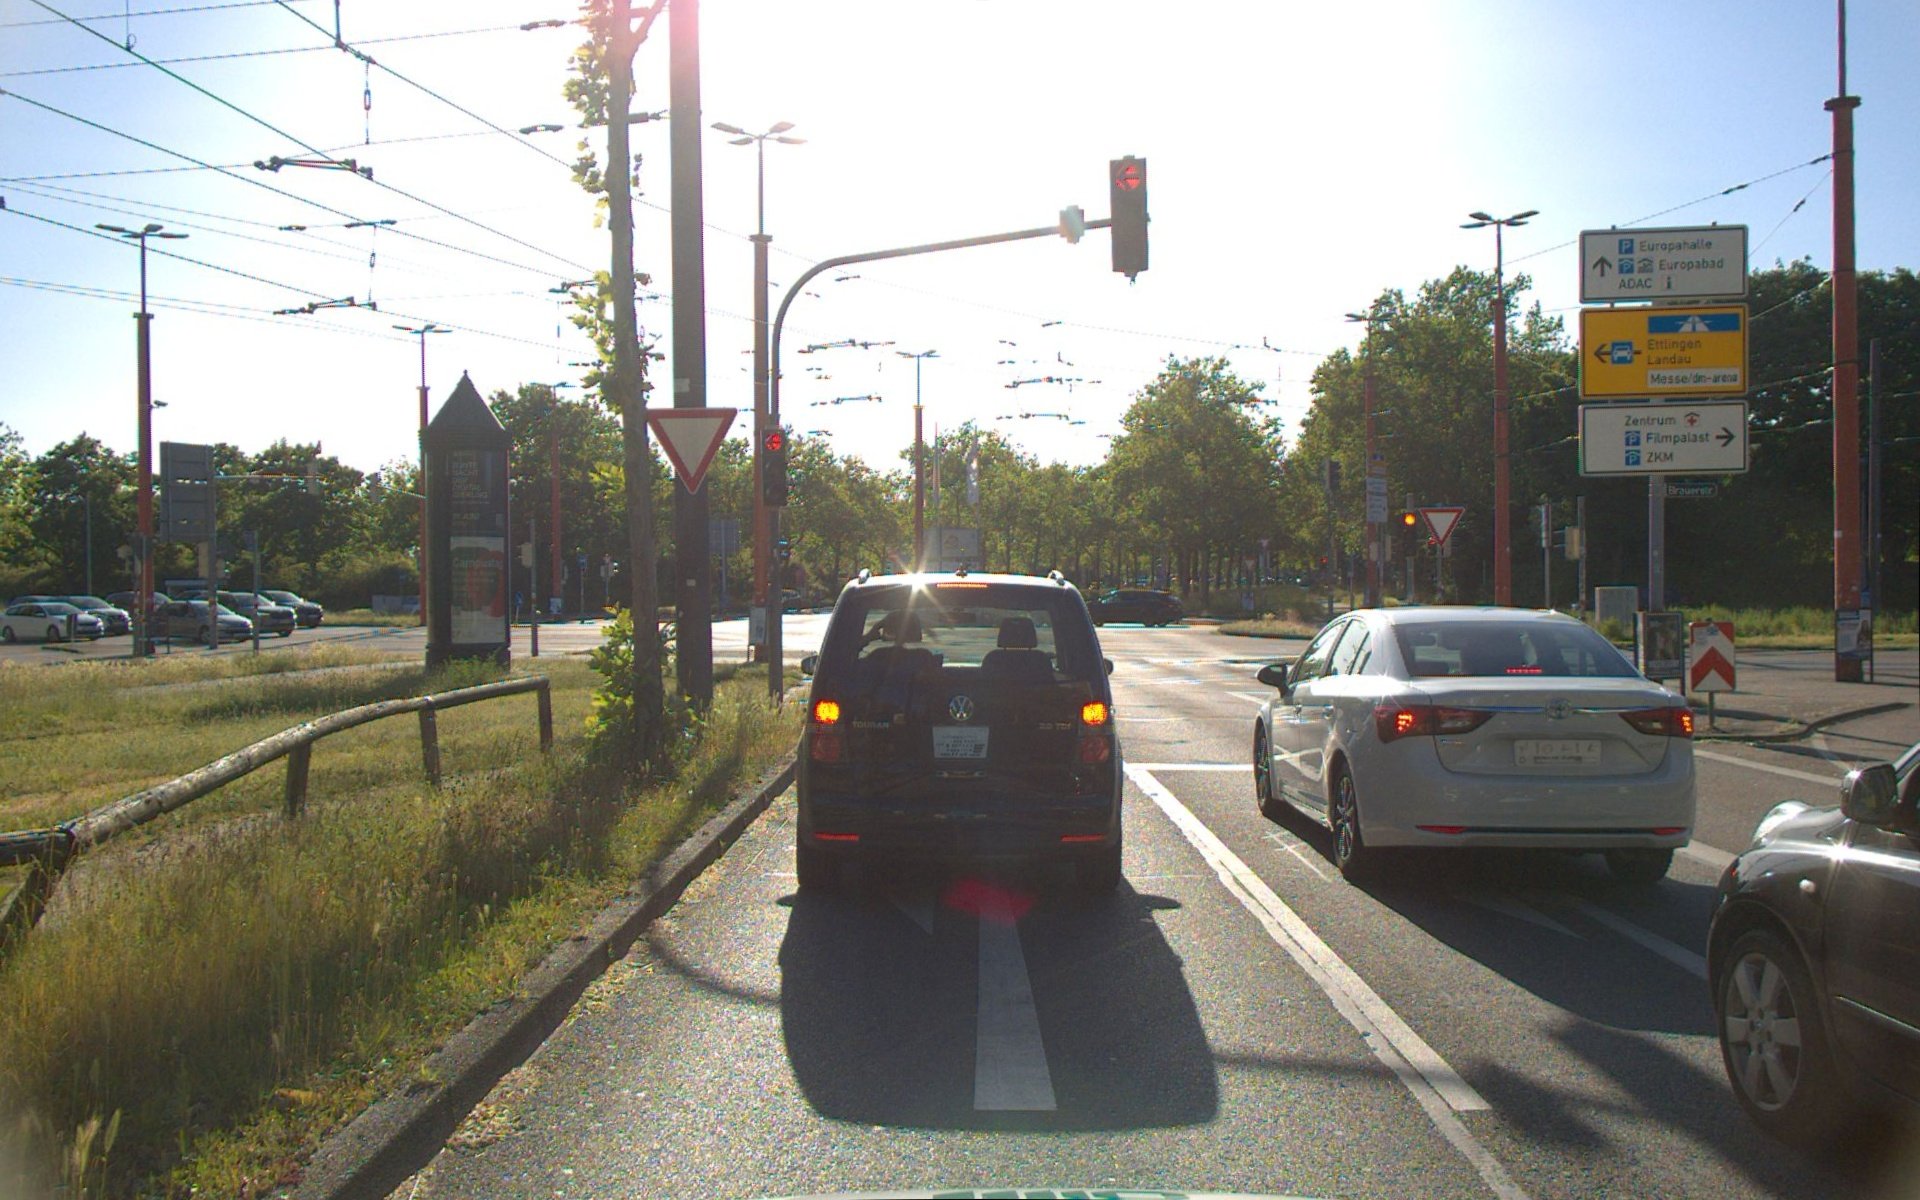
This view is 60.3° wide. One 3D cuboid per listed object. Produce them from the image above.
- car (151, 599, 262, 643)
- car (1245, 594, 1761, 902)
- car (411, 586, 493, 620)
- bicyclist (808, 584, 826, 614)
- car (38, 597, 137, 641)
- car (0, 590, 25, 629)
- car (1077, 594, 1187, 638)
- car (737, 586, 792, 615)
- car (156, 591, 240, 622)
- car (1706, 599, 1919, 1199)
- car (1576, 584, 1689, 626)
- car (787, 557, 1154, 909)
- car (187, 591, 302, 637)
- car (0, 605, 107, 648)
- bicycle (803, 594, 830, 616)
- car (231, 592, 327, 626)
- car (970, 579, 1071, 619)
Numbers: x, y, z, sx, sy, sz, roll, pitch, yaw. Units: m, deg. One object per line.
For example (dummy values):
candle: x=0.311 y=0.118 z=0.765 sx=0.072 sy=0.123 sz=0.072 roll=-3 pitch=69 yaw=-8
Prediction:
car: x=-26.823 y=0.726 z=58.887 sx=3.755 sy=1.466 sz=1.655 roll=0 pitch=0 yaw=27
car: x=3.010 y=0.728 z=10.189 sx=1.762 sy=1.465 sz=4.326 roll=1 pitch=0 yaw=0
car: x=-26.924 y=0.137 z=87.584 sx=4.035 sy=1.780 sz=1.656 roll=0 pitch=0 yaw=23
bicyclist: x=-9.453 y=-0.063 z=109.223 sx=0.955 sy=1.937 sz=1.051 roll=0 pitch=0 yaw=12
car: x=-35.584 y=0.741 z=67.445 sx=4.248 sy=1.721 sz=1.653 roll=0 pitch=0 yaw=32
car: x=-42.556 y=0.386 z=71.396 sx=4.541 sy=1.676 sz=1.753 roll=0 pitch=0 yaw=30
car: x=6.916 y=0.629 z=66.486 sx=4.118 sy=1.710 sz=1.656 roll=0 pitch=0 yaw=23
car: x=-12.143 y=0.022 z=103.064 sx=1.618 sy=1.780 sz=4.131 roll=0 pitch=0 yaw=22
car: x=-41.713 y=0.334 z=90.495 sx=4.568 sy=1.654 sz=1.655 roll=0 pitch=0 yaw=26
car: x=3.131 y=0.742 z=3.493 sx=1.544 sy=1.465 sz=3.441 roll=1 pitch=0 yaw=0
car: x=24.861 y=0.178 z=61.191 sx=3.835 sy=1.483 sz=1.656 roll=0 pitch=0 yaw=23
car: x=0.062 y=0.635 z=9.967 sx=1.703 sy=1.630 sz=4.326 roll=1 pitch=0 yaw=0
car: x=-27.368 y=0.512 z=63.239 sx=4.541 sy=1.676 sz=1.654 roll=0 pitch=0 yaw=30
car: x=-34.699 y=0.971 z=63.121 sx=4.536 sy=1.546 sz=1.654 roll=0 pitch=0 yaw=30
bicycle: x=-9.461 y=0.317 z=109.182 sx=0.955 sy=1.413 sz=2.982 roll=0 pitch=0 yaw=12
car: x=-29.470 y=0.371 z=71.555 sx=4.060 sy=1.440 sz=1.542 roll=0 pitch=0 yaw=26
car: x=2.672 y=-0.050 z=72.818 sx=4.120 sy=1.710 sz=1.655 roll=0 pitch=0 yaw=26
